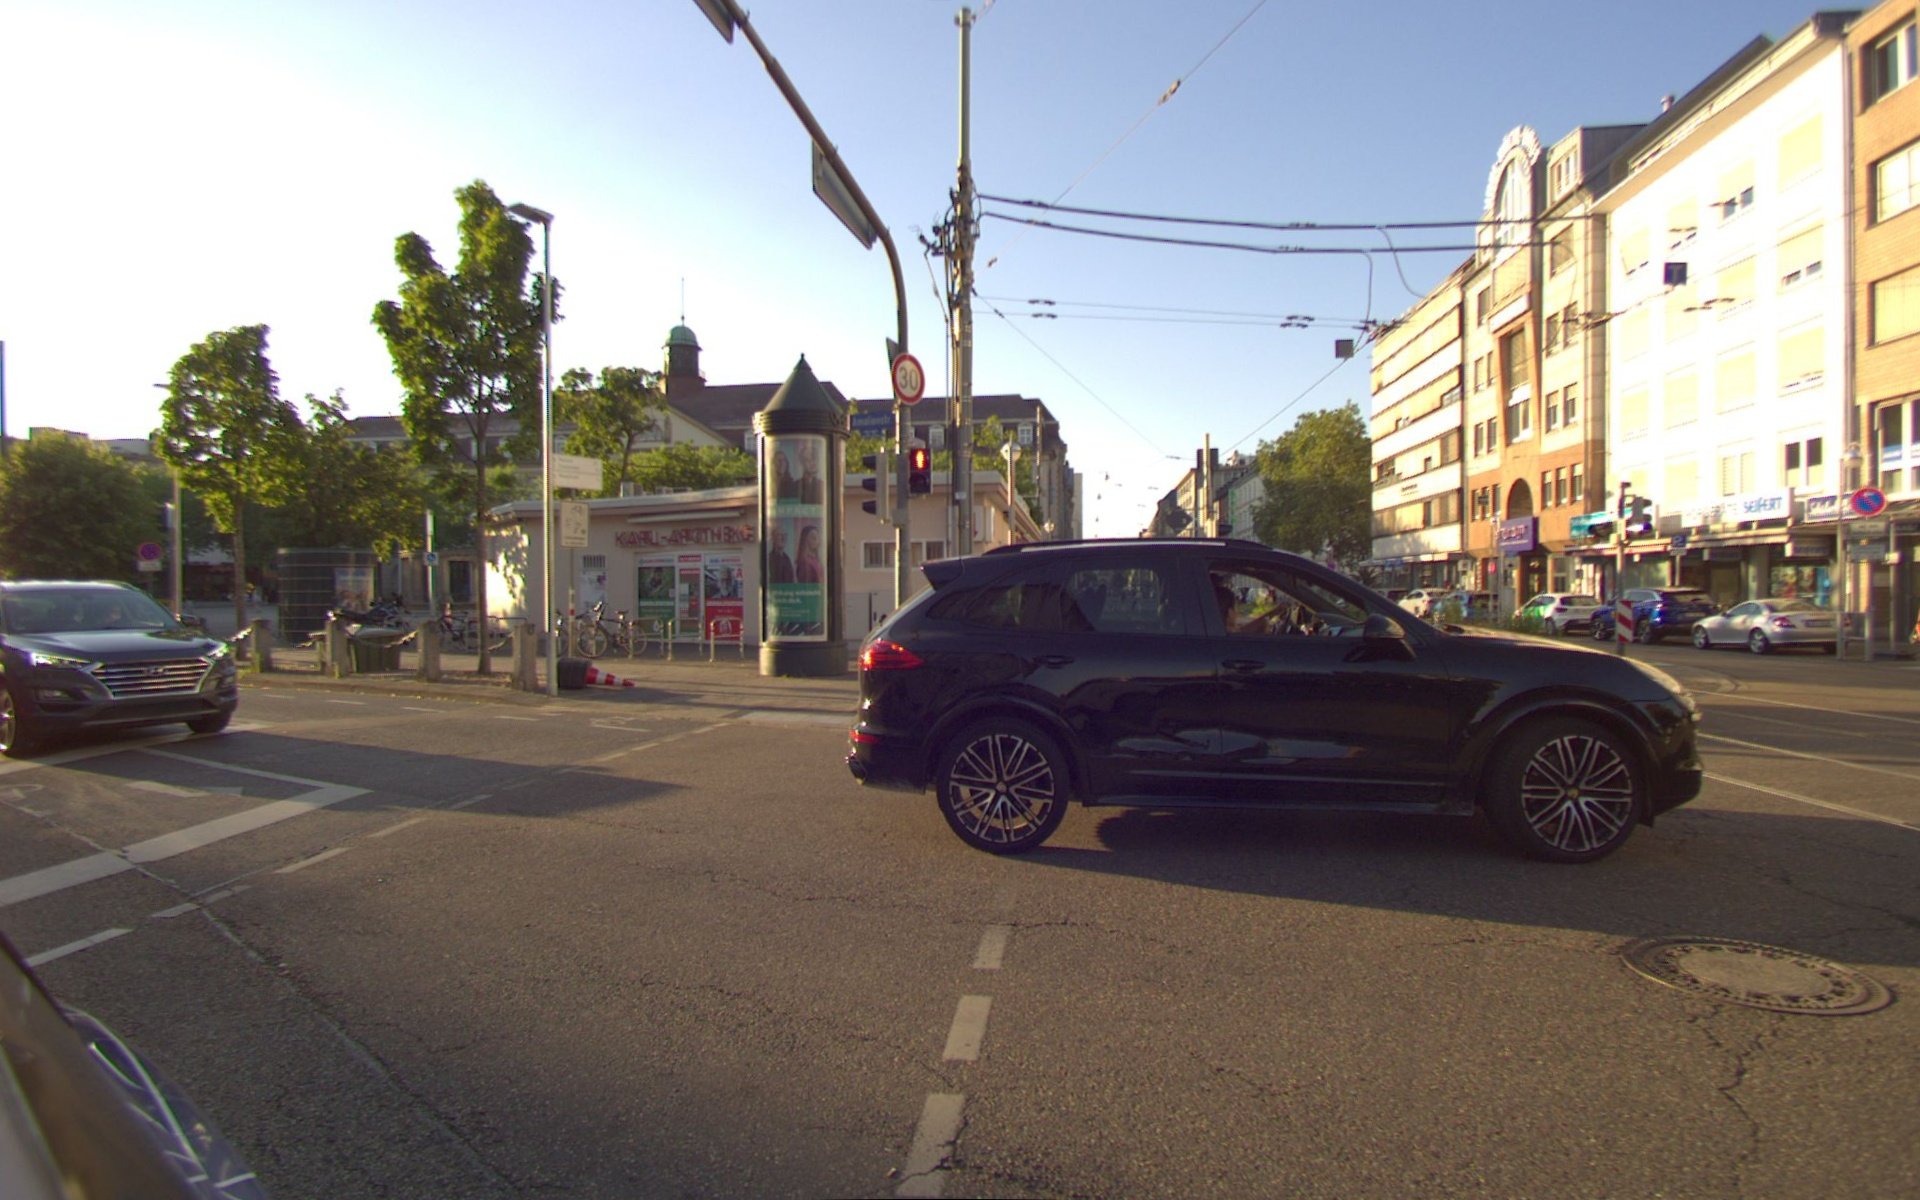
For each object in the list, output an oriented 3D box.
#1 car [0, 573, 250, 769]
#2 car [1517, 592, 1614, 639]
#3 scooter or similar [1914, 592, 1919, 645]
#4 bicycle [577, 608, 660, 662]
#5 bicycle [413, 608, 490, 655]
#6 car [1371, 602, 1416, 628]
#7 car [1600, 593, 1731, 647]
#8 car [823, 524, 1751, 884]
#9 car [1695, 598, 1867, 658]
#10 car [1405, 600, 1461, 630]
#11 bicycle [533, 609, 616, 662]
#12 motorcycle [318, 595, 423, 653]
[{"bbox_3d":[-9.581,0.623,10.703,4.243,1.710,1.810,0,0,30],"label":"car"},{"bbox_3d":[21.007,0.528,35.239,1.618,1.475,3.380,-3,-1,8],"label":"car"},{"bbox_3d":[23.334,0.442,23.896,0.391,1.268,1.462,-2,-1,9],"label":"scooter or similar"},{"bbox_3d":[-7.487,0.751,22.265,0.447,1.122,1.851,1,0,32],"label":"bicycle"},{"bbox_3d":[-12.632,0.754,25.194,0.394,1.111,1.793,0,0,31],"label":"bicycle"},{"bbox_3d":[23.702,0.798,55.422,1.444,1.301,3.139,-3,-1,8],"label":"car"},{"bbox_3d":[20.024,0.553,28.900,1.618,1.364,3.380,-3,-1,8],"label":"car"},{"bbox_3d":[1.622,0.503,6.012,4.515,1.710,1.802,-1,1,8],"label":"car"},{"bbox_3d":[19.601,0.642,24.340,1.618,1.263,3.380,-3,-1,8],"label":"car"},{"bbox_3d":[22.535,0.712,48.314,1.444,1.301,3.139,-3,-1,8],"label":"car"},{"bbox_3d":[-8.609,0.766,22.677,0.447,1.122,1.851,1,0,32],"label":"bicycle"},{"bbox_3d":[-15.512,0.592,26.708,0.698,1.457,2.375,0,0,31],"label":"motorcycle"}]
